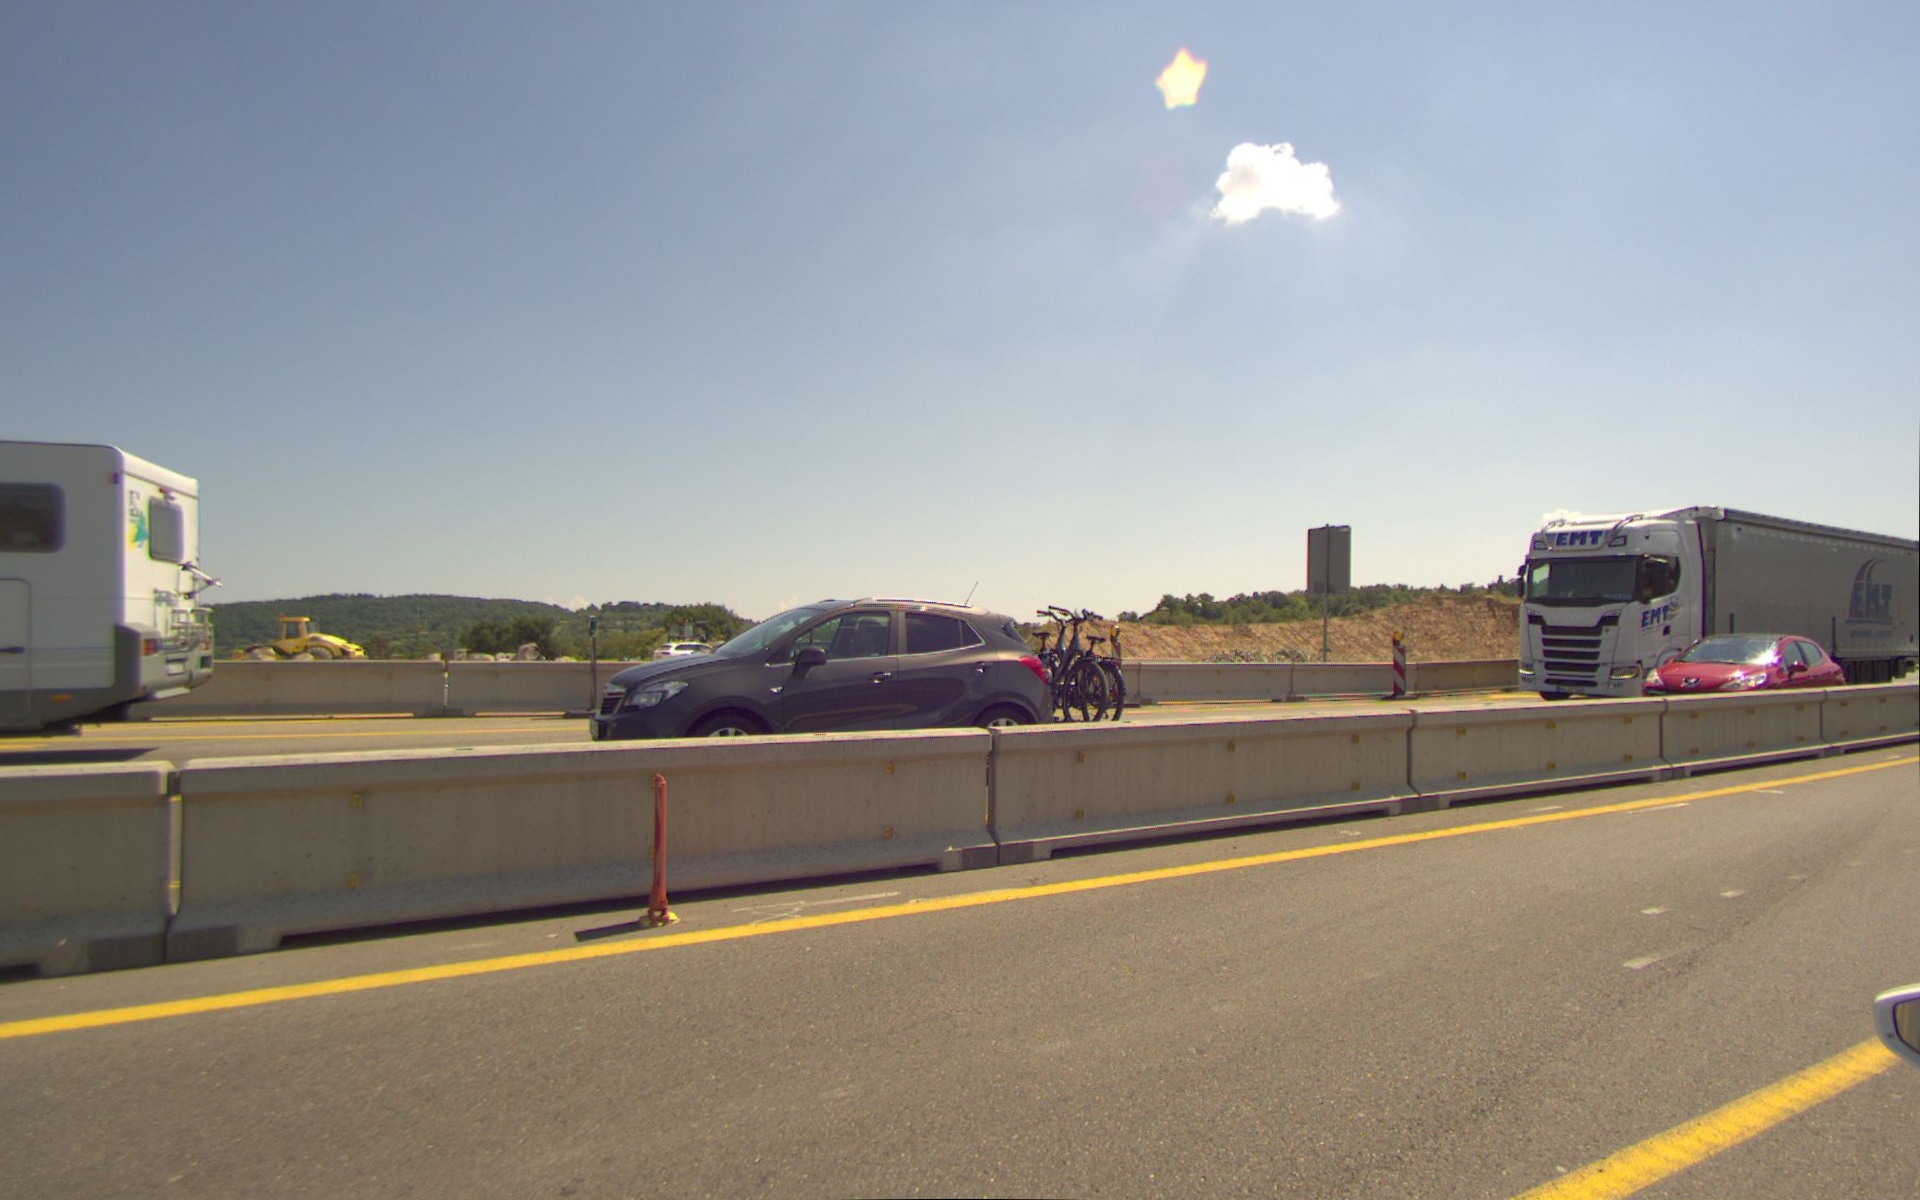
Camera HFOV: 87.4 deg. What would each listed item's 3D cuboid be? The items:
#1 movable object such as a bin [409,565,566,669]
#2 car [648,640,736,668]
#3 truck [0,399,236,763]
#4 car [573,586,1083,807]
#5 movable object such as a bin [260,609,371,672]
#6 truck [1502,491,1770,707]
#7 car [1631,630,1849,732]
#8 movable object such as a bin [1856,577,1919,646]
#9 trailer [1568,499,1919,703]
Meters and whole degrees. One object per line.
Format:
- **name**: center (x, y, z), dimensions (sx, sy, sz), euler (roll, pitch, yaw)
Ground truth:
- **movable object such as a bin**: center (-15.054, 0.581, 32.271), dimensions (4.206, 3.182, 1.994), euler (1, -2, -15)
- **car**: center (-14.461, 2.911, 54.333), dimensions (4.413, 1.427, 1.597), euler (2, -2, -42)
- **truck**: center (-10.962, -0.169, 8.722), dimensions (7.146, 3.112, 2.436), euler (1, -2, -24)
- **car**: center (-1.125, 0.775, 9.181), dimensions (4.342, 1.626, 1.653), euler (1, -2, -29)
- **movable object such as a bin**: center (-33.453, 2.102, 52.289), dimensions (4.411, 3.182, 1.994), euler (1, -2, -15)
- **truck**: center (14.601, 0.071, 21.670), dimensions (5.436, 4.115, 2.689), euler (1, -2, -30)
- **car**: center (12.855, 1.254, 16.503), dimensions (3.928, 1.495, 1.659), euler (1, -2, -33)
- **movable object such as a bin**: center (109.091, 1.354, 116.093), dimensions (3.414, 7.815, 7.583), euler (1, -2, -37)
- **trailer**: center (20.397, 0.192, 25.455), dimensions (13.825, 4.168, 2.745), euler (1, -2, -33)
